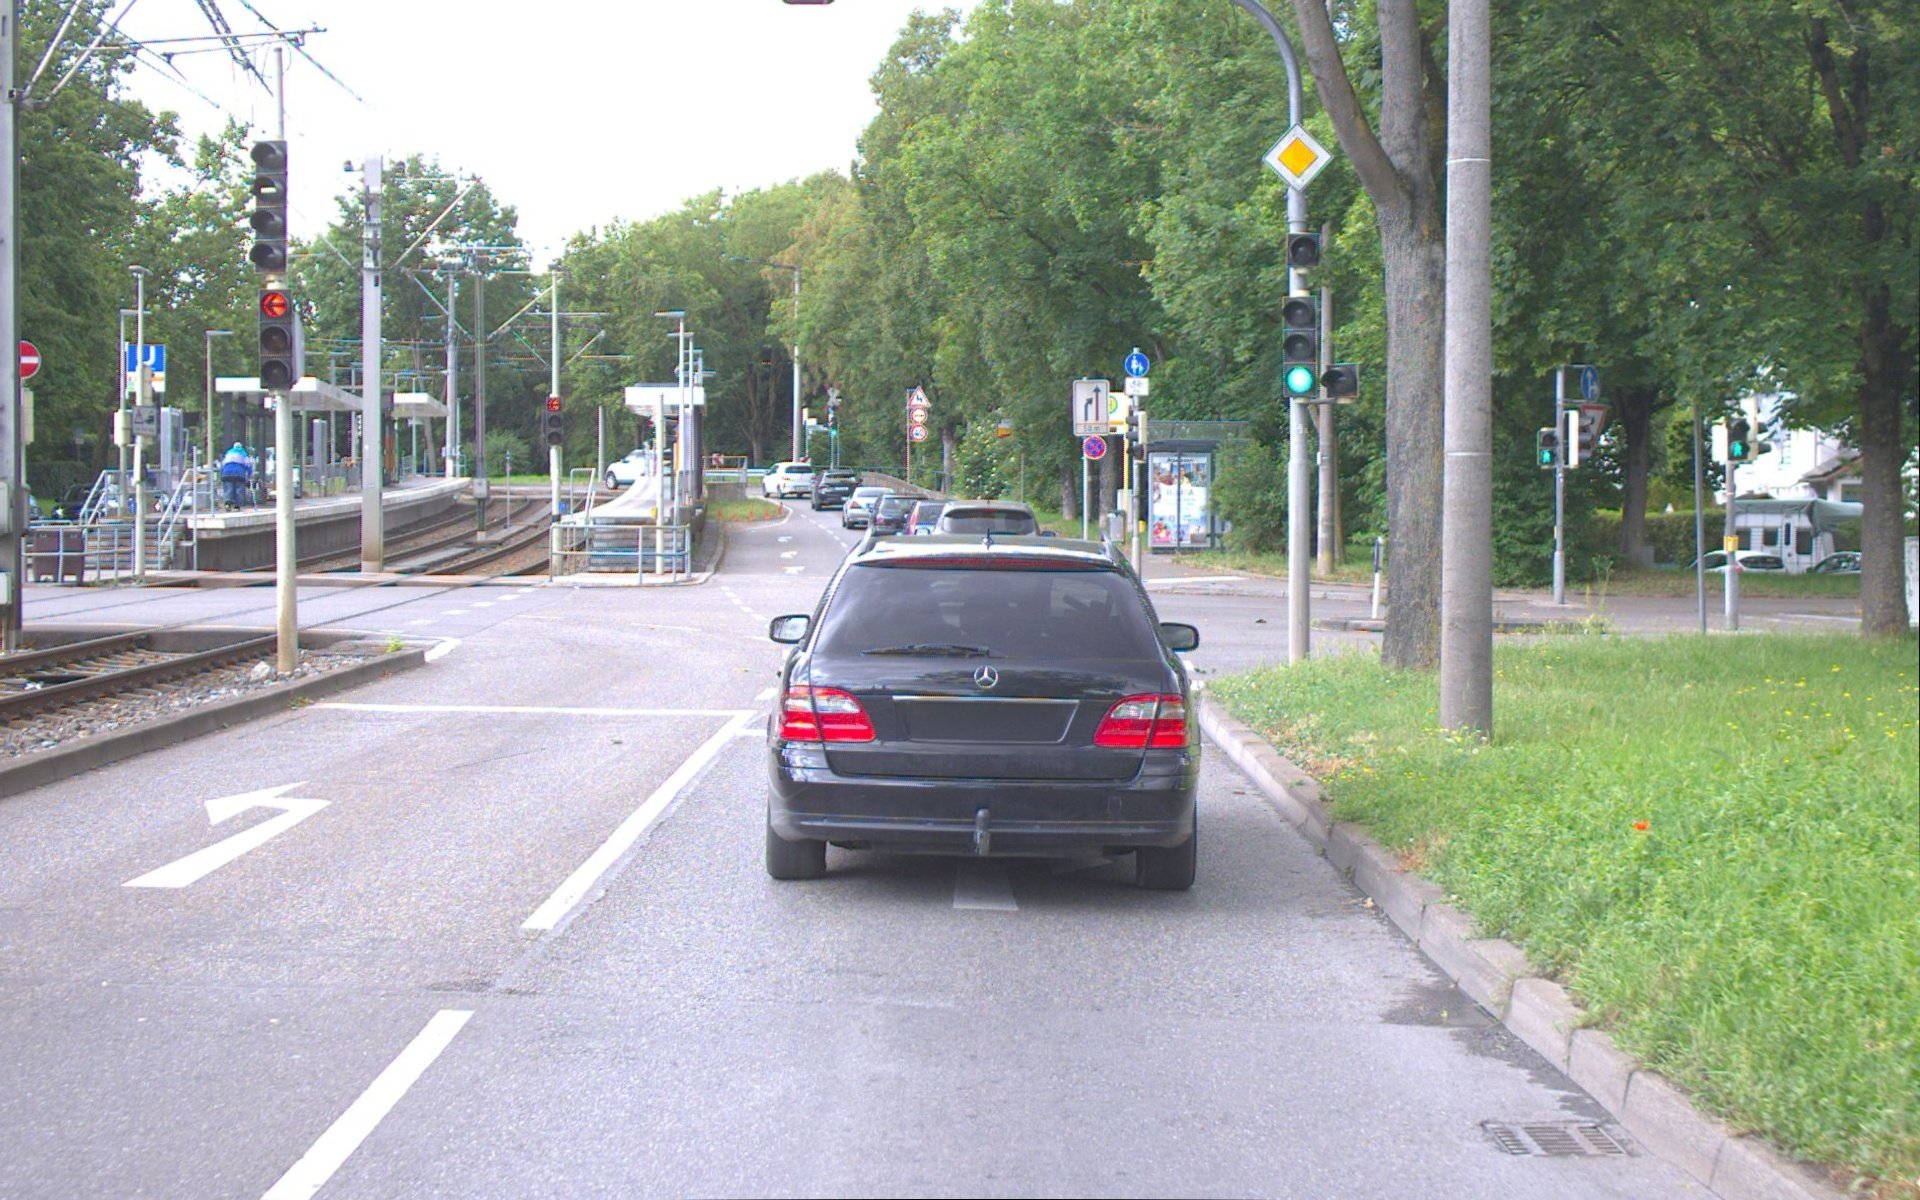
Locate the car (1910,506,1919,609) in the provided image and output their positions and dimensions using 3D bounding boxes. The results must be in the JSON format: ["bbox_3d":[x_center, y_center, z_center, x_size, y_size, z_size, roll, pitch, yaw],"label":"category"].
[{"bbox_3d":[16.231,-0.616,50.464,4.153,1.521,1.704,0,1,5],"label":"car"}]

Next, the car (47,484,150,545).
[{"bbox_3d":[-24.144,-2.418,96.531,1.993,1.476,4.508,5,2,-5],"label":"car"}]

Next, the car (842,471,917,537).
[{"bbox_3d":[-2.482,-2.902,104.573,1.993,1.886,4.001,2,1,-4],"label":"car"}]

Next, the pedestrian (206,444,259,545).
[{"bbox_3d":[-15.883,-2.306,75.069,0.969,2.178,0.976,1,2,-2],"label":"pedestrian"}]

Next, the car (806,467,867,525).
[{"bbox_3d":[-4.523,-3.772,125.383,1.993,1.960,4.001,2,1,-4],"label":"car"}]

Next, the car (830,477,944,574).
[{"bbox_3d":[-1.297,-1.342,62.575,1.782,1.642,4.000,2,1,2],"label":"car"}]

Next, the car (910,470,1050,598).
[{"bbox_3d":[0.316,-0.912,47.883,1.782,1.642,4.000,2,1,2],"label":"car"}]

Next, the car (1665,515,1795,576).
[{"bbox_3d":[18.757,-1.350,83.871,1.478,1.381,3.841,2,1,-14],"label":"car"}]

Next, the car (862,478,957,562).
[{"bbox_3d":[-1.251,-1.931,83.299,1.993,1.911,4.001,2,1,-4],"label":"car"}]

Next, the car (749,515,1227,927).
[{"bbox_3d":[0.031,0.424,15.232,1.781,1.520,4.001,2,1,-2],"label":"car"}]

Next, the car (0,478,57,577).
[{"bbox_3d":[-18.715,-1.427,66.408,1.697,1.854,4.001,2,1,-4],"label":"car"}]

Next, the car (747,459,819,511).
[{"bbox_3d":[-7.343,-4.745,142.310,1.993,2.007,4.001,2,1,-17],"label":"car"}]

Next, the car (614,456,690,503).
[{"bbox_3d":[-13.868,-5.411,154.778,1.993,2.007,4.001,2,1,-27],"label":"car"}]
